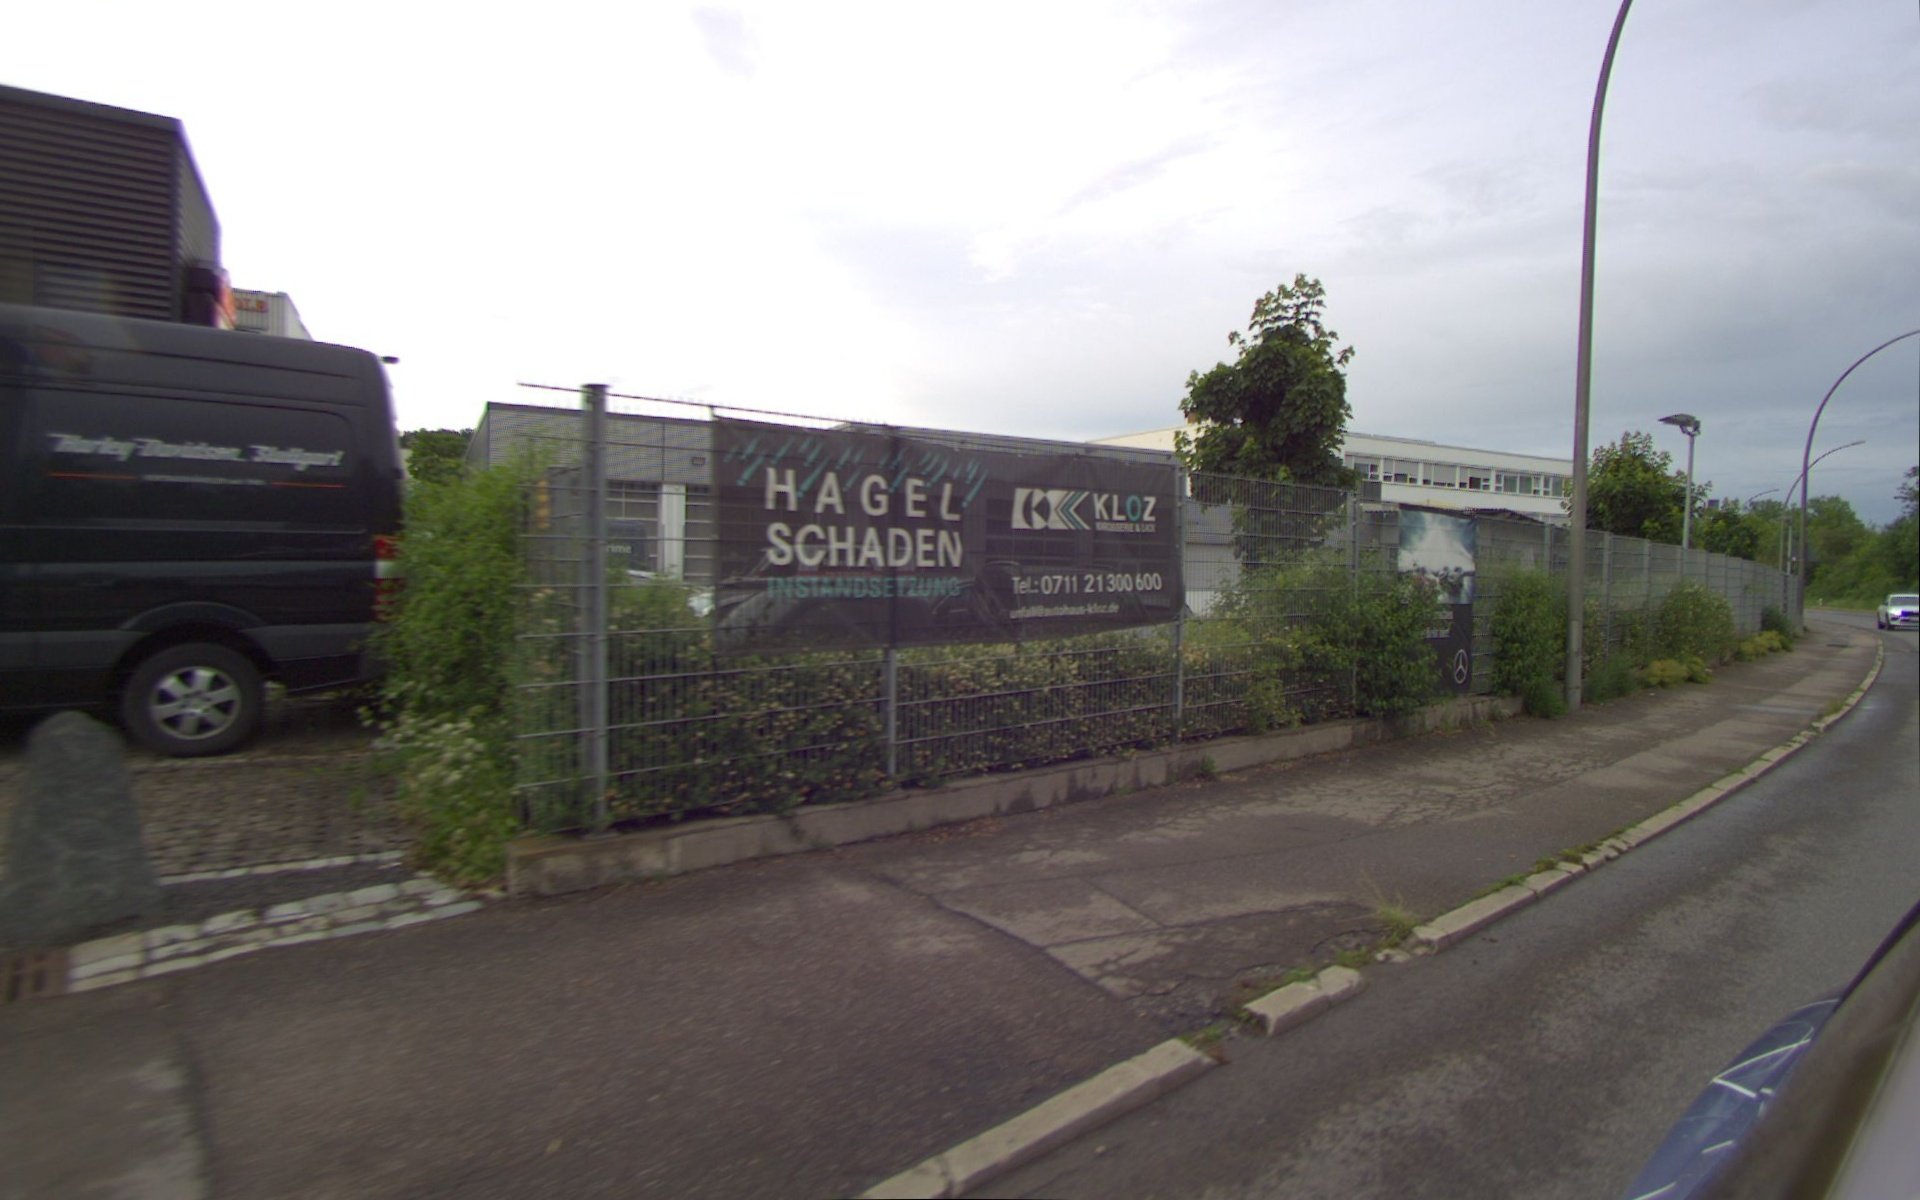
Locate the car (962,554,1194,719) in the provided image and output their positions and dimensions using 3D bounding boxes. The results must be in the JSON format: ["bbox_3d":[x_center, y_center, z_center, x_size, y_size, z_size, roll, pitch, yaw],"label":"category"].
[{"bbox_3d":[1.371,0.360,13.560,1.737,1.861,4.126,2,2,-13],"label":"car"}]

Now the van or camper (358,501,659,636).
[{"bbox_3d":[-9.625,-0.619,21.756,5.625,2.589,2.343,1,2,-31],"label":"van or camper"}]

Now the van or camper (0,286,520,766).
[{"bbox_3d":[-6.309,-0.442,6.065,6.461,2.625,2.049,0,2,-33],"label":"van or camper"}]

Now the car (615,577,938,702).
[{"bbox_3d":[-2.116,0.396,11.820,3.330,1.224,1.644,1,2,-33],"label":"car"}]

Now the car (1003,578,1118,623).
[{"bbox_3d":[3.374,0.006,34.923,1.685,1.417,4.657,-2,1,-26],"label":"car"}]
